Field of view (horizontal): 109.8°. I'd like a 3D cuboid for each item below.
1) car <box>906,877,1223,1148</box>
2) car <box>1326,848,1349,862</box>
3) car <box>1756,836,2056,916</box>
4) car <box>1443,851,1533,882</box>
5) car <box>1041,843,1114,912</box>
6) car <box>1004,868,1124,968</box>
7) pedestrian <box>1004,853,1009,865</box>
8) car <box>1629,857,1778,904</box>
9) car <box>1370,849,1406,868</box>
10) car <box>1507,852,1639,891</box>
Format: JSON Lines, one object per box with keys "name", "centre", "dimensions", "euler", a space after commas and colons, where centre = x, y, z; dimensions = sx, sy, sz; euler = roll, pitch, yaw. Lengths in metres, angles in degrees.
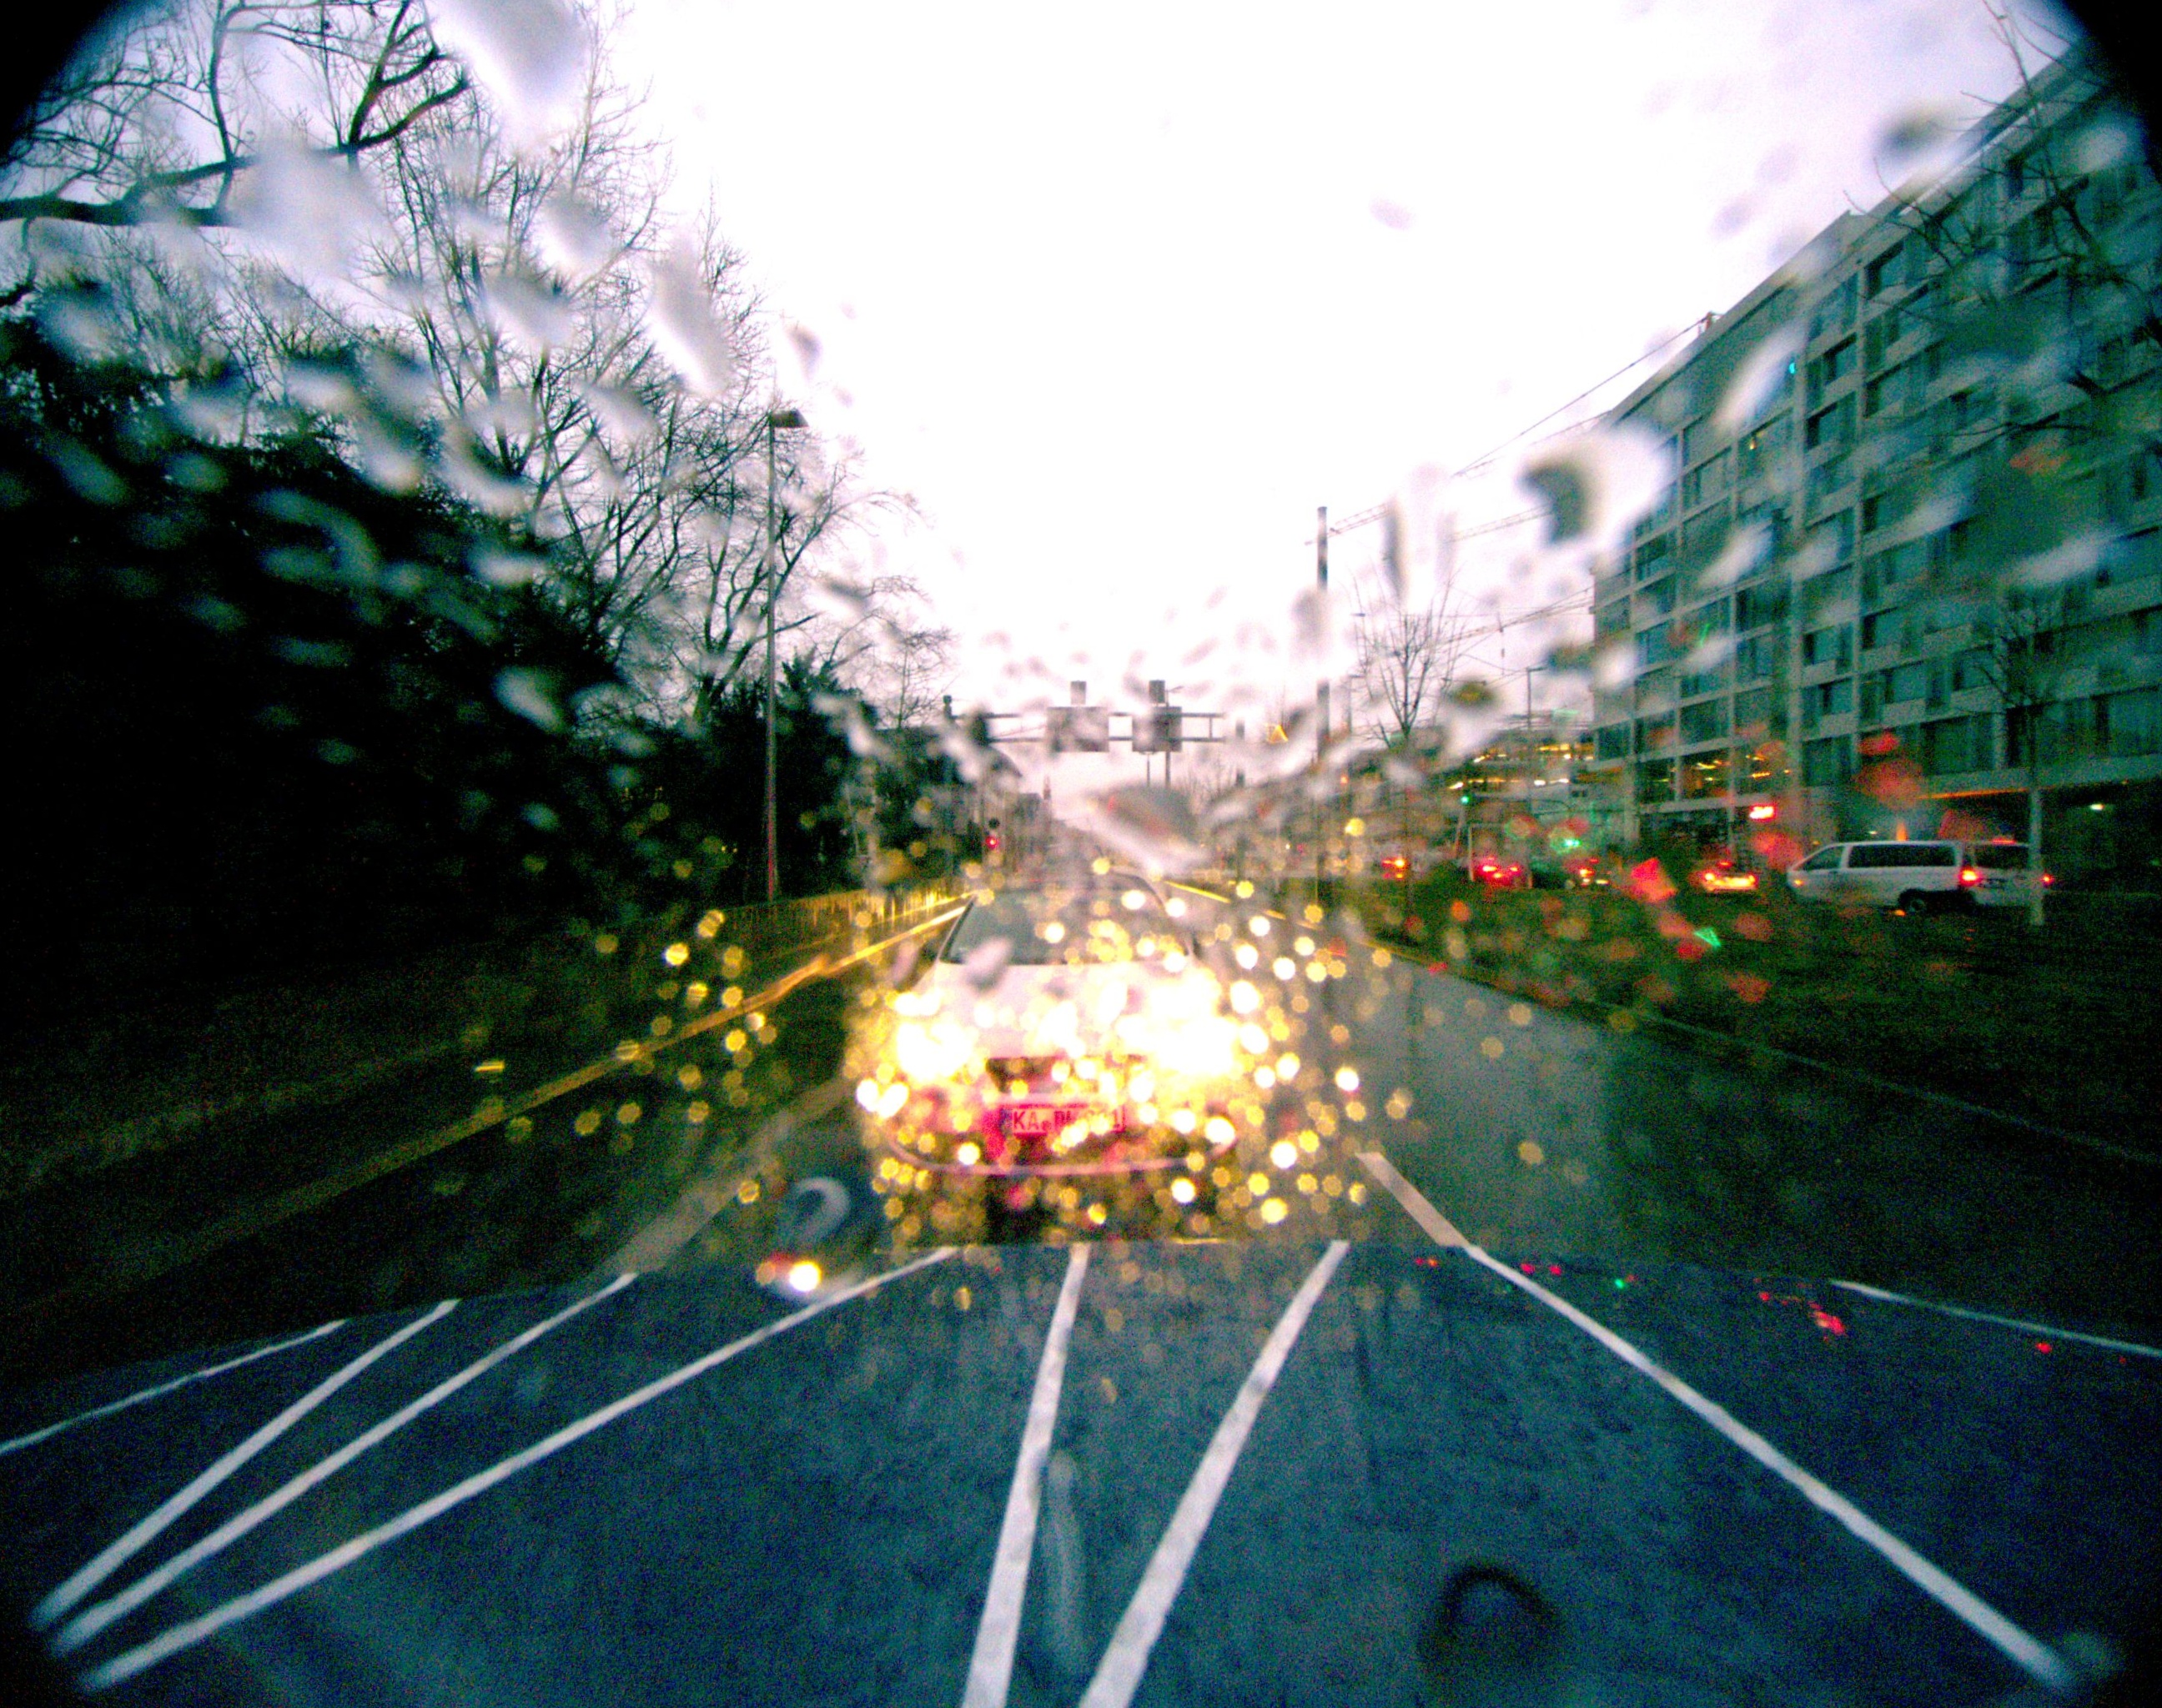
{"name": "car", "centre": [-0.094, 0.982, 6.393], "dimensions": [1.798, 1.363, 3.981], "euler": [-2, 1, 0]}
{"name": "car", "centre": [34.123, 0.108, 101.277], "dimensions": [1.900, 1.709, 4.918], "euler": [0, 0, 5]}
{"name": "car", "centre": [19.924, 0.465, 18.817], "dimensions": [1.900, 1.709, 5.118], "euler": [0, 0, 1]}
{"name": "car", "centre": [20.562, 0.578, 38.637], "dimensions": [1.998, 1.459, 5.034], "euler": [0, 0, 1]}
{"name": "car", "centre": [-0.090, 0.577, 20.926], "dimensions": [1.781, 1.666, 3.981], "euler": [-2, 1, 0]}
{"name": "car", "centre": [-0.254, 0.980, 13.219], "dimensions": [1.728, 1.318, 3.981], "euler": [-2, 1, 0]}
{"name": "pedestrian", "centre": [-9.331, 0.576, 95.482], "dimensions": [0.521, 1.501, 0.588], "euler": [0, 1, 1]}
{"name": "car", "centre": [20.358, 0.809, 25.078], "dimensions": [1.901, 1.423, 3.706], "euler": [0, 0, 0]}
{"name": "car", "centre": [29.606, 0.425, 73.446], "dimensions": [1.900, 1.709, 4.918], "euler": [0, 0, 6]}
{"name": "car", "centre": [20.495, 0.670, 31.894], "dimensions": [2.001, 1.488, 4.444], "euler": [0, 0, -15]}
